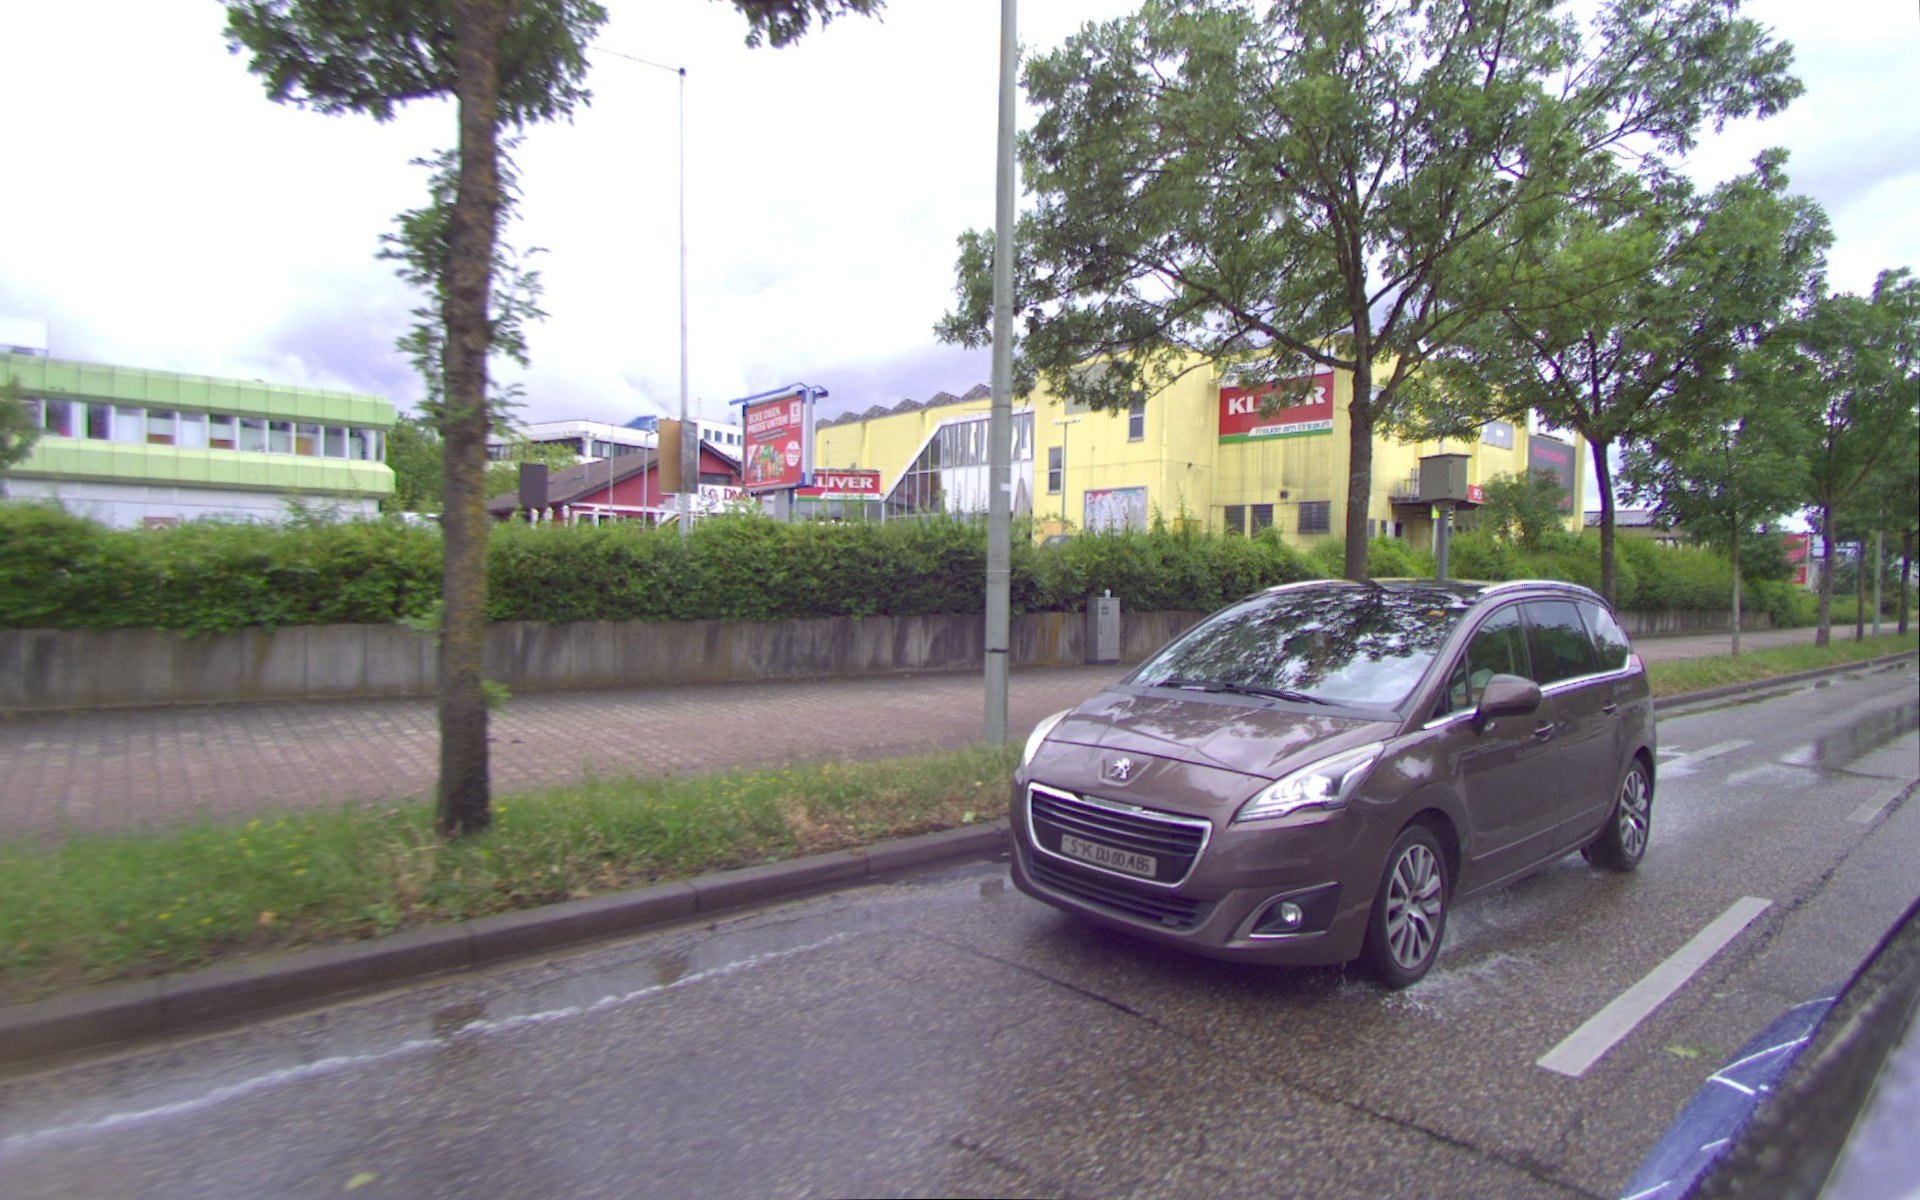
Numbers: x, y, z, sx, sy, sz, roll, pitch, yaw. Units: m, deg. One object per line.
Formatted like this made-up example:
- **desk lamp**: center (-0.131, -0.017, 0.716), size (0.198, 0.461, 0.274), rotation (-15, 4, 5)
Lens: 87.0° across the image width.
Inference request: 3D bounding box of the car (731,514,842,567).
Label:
- **car**: center (-6.405, -2.143, 37.017), size (1.965, 1.760, 4.378), rotation (1, 1, -42)

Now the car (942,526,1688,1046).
- **car**: center (2.145, 0.589, 5.300), size (4.392, 1.645, 1.729), rotation (0, 0, -41)

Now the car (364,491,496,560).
- **car**: center (-15.888, -2.149, 30.228), size (2.340, 1.801, 4.977), rotation (1, 1, -42)

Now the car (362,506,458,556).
- **car**: center (-22.199, -2.706, 40.747), size (2.340, 1.801, 4.977), rotation (1, 1, -42)
